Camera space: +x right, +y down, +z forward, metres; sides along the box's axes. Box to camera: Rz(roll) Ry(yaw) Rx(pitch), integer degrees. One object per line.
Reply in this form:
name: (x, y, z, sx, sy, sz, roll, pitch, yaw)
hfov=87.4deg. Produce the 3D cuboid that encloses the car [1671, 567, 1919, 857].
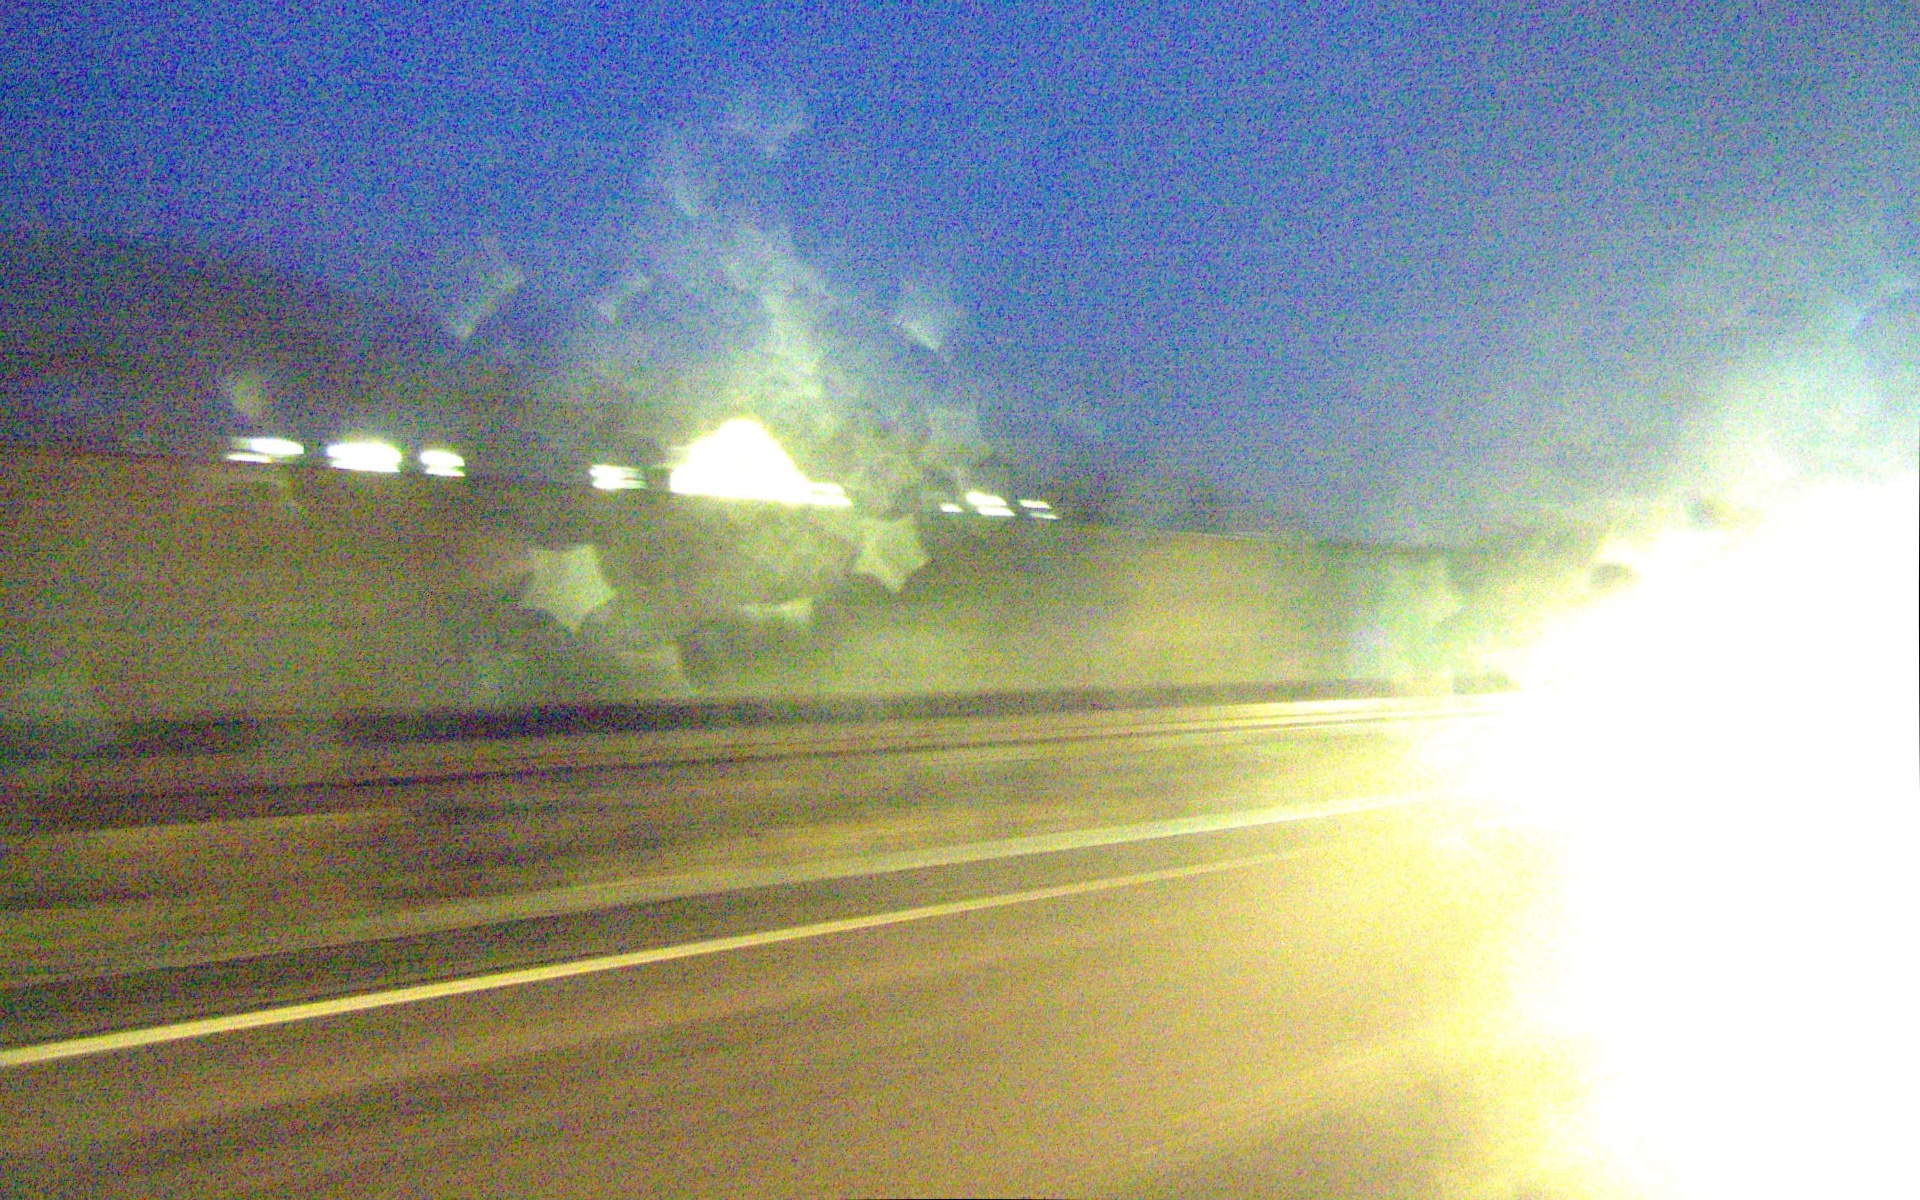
car: (7.470, 0.743, 7.868, 3.834, 1.847, 1.733, 1, 0, -32)
